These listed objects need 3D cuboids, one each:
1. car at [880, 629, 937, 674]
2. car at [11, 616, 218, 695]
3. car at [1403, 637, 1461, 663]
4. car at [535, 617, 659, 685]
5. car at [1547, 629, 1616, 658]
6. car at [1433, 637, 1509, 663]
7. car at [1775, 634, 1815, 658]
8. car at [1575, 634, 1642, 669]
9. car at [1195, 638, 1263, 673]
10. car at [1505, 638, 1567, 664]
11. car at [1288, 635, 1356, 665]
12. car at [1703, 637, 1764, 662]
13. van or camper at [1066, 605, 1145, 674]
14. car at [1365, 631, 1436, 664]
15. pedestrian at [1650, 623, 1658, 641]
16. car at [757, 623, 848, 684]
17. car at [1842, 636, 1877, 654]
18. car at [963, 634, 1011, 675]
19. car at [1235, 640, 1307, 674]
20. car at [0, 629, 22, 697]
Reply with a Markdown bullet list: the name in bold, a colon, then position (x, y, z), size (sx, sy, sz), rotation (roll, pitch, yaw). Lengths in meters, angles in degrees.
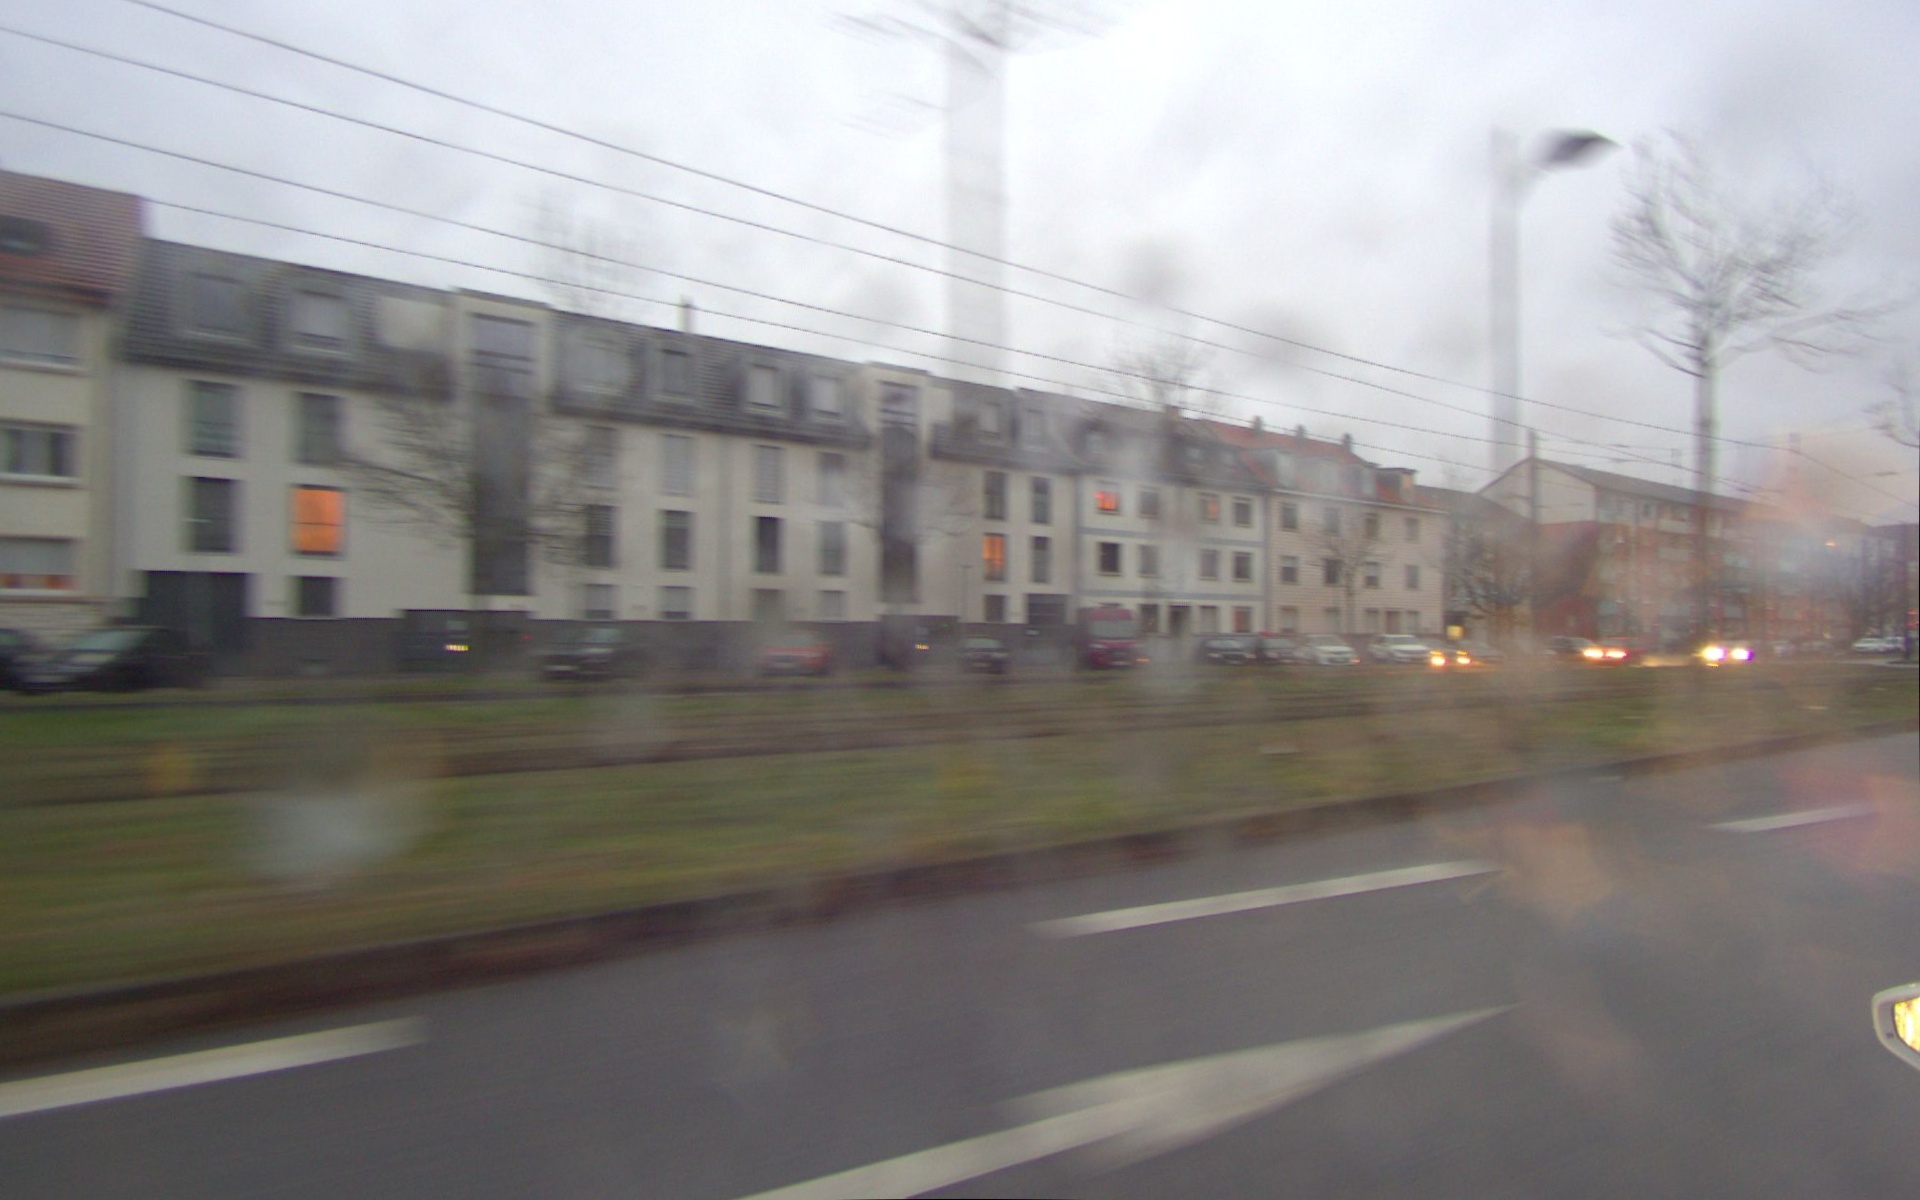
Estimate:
- **car**: position (-1.681, 1.699, 33.782), size (1.360, 1.320, 3.099), rotation (2, 0, 7)
- **car**: position (-17.690, 1.111, 21.226), size (1.638, 1.441, 3.383), rotation (2, 0, -4)
- **car**: position (23.840, 2.511, 50.839), size (1.370, 1.162, 3.043), rotation (2, 0, -3)
- **car**: position (-9.544, 1.295, 26.737), size (1.637, 1.561, 4.163), rotation (2, 0, 2)
- **car**: position (37.431, 2.586, 60.607), size (1.708, 1.576, 3.797), rotation (2, 0, -2)
- **car**: position (26.667, 2.593, 52.596), size (1.649, 1.131, 4.187), rotation (2, 0, -3)
- **car**: position (74.786, 4.102, 89.927), size (3.965, 2.040, 1.978), rotation (2, 0, -39)
- **car**: position (32.582, 2.577, 50.435), size (3.473, 1.645, 1.603), rotation (2, 0, -35)
- **car**: position (11.173, 2.289, 41.902), size (1.714, 1.228, 3.539), rotation (2, 0, -3)
- **car**: position (32.565, 2.843, 56.898), size (1.424, 1.355, 3.769), rotation (1, -1, 1)
- **car**: position (16.186, 2.225, 45.044), size (1.659, 1.162, 3.417), rotation (2, 0, -3)
- **car**: position (50.124, 3.192, 65.050), size (4.743, 1.522, 1.867), rotation (2, 0, -36)
- **van or camper**: position (5.508, 1.409, 38.933), size (1.961, 2.391, 6.881), rotation (1, 0, -1)
- **car**: position (21.475, 2.294, 49.133), size (1.737, 1.397, 4.125), rotation (2, 0, 2)
- **pedestrian**: position (48.701, 2.252, 70.480), size (0.339, 1.200, 0.434), rotation (1, 0, 15)
- **car**: position (-4.708, 1.562, 30.517), size (1.707, 1.610, 3.851), rotation (2, 0, 7)
- **car**: position (88.047, 4.364, 98.282), size (3.694, 1.618, 1.917), rotation (2, 0, -38)
- **car**: position (0.959, 1.825, 34.313), size (1.360, 1.220, 2.890), rotation (2, 0, 7)
- **car**: position (13.308, 2.423, 43.158), size (1.846, 1.216, 3.539), rotation (2, 0, -3)
- **car**: position (-20.318, 1.279, 19.374), size (1.704, 1.354, 2.936), rotation (2, 0, -1)
